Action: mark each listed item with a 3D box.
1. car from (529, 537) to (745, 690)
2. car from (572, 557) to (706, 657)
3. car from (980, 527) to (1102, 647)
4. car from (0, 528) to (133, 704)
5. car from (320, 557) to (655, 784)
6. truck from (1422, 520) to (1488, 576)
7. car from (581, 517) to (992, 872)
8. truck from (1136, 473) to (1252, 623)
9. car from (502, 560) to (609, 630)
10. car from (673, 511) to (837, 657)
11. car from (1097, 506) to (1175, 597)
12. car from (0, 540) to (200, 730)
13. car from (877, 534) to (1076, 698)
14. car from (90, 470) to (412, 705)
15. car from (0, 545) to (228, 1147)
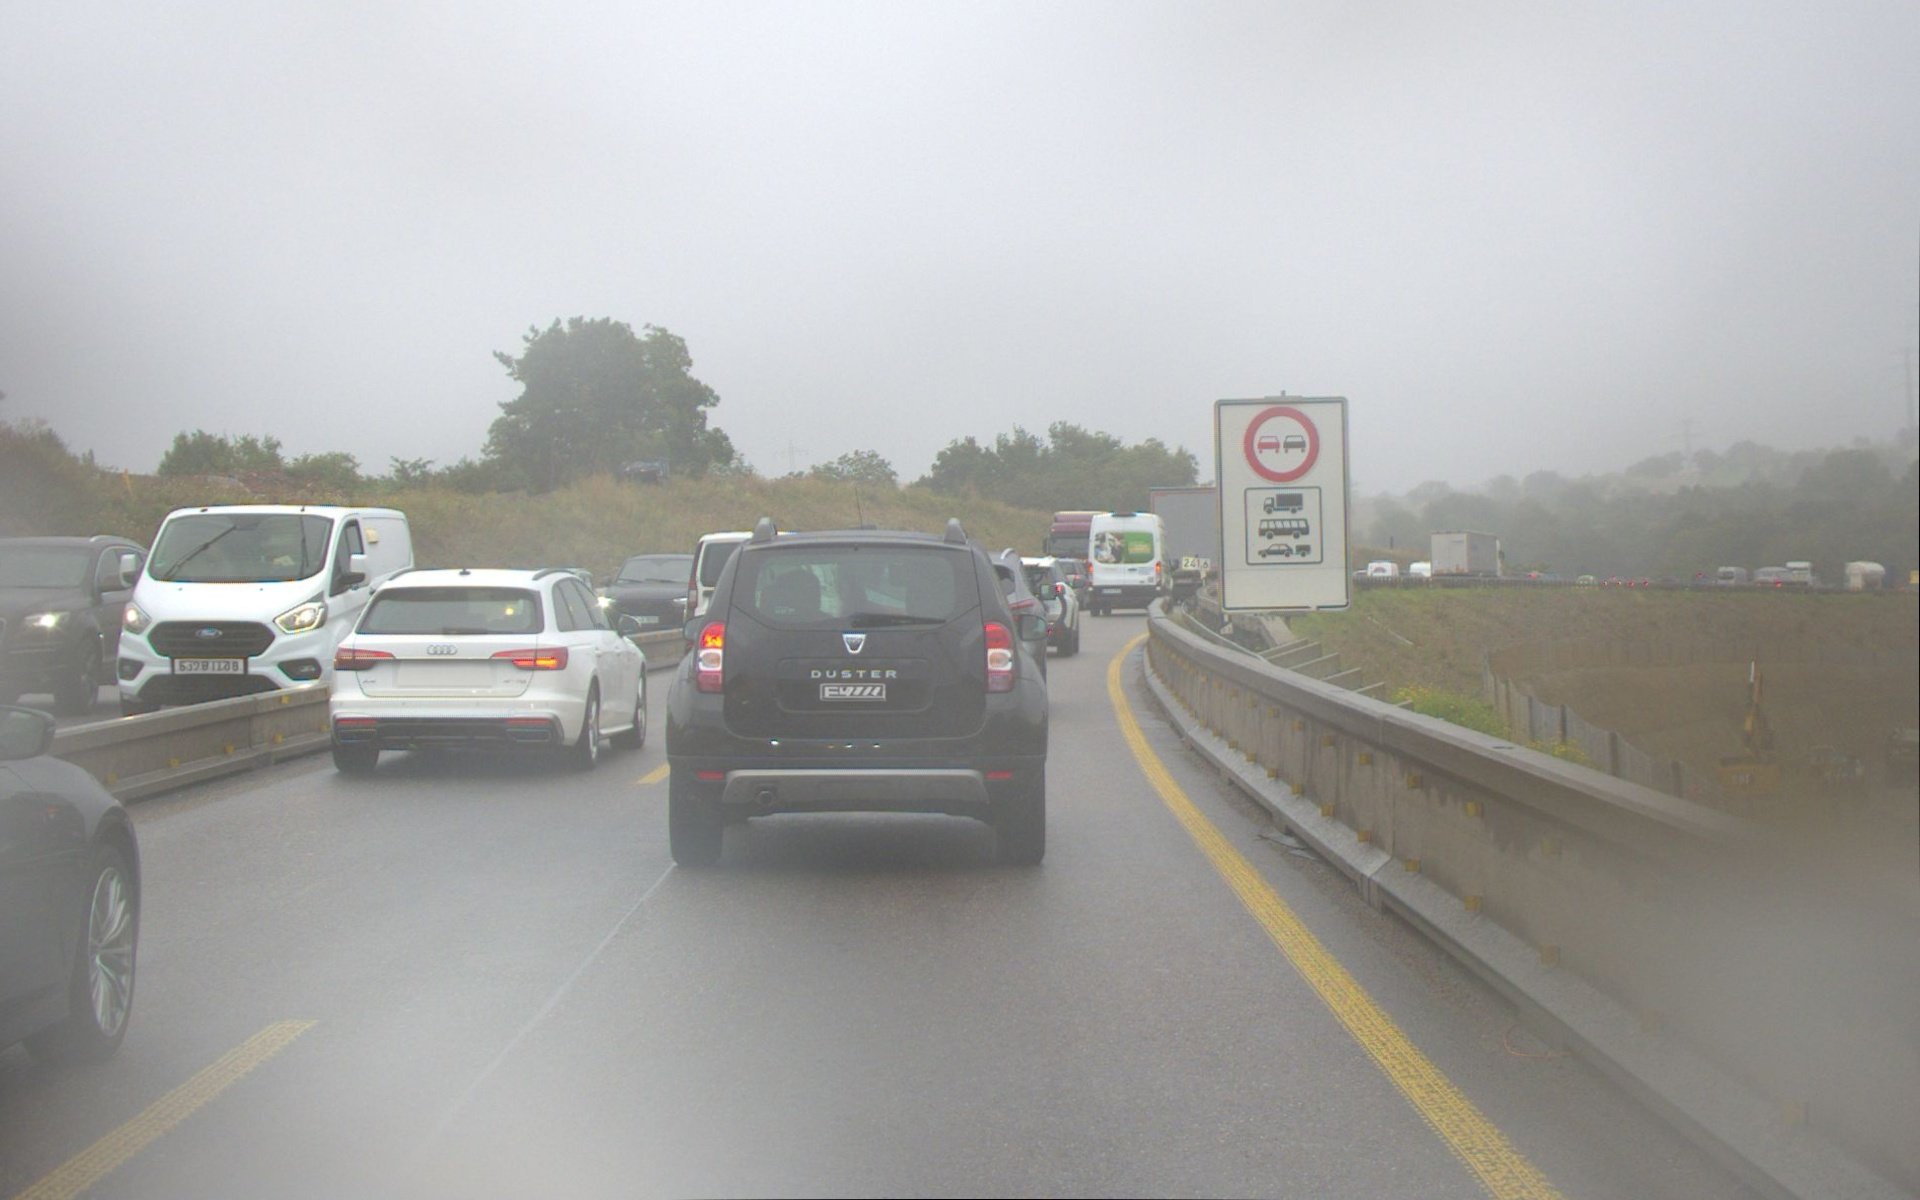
[{"bbox_3d":[-3.308,0.127,35.847,1.826,1.494,4.000,0,0,1],"label":"car"},{"bbox_3d":[-5.599,0.093,60.367,1.822,1.633,4.484,0,1,2],"label":"car"},{"bbox_3d":[1.296,-0.198,53.766,1.826,1.809,4.000,0,0,2],"label":"car"},{"bbox_3d":[-9.102,0.113,33.118,1.531,1.596,3.167,0,1,0],"label":"car"},{"bbox_3d":[-3.312,0.466,24.820,1.826,1.494,4.000,0,0,1],"label":"car"},{"bbox_3d":[33.792,-3.601,234.387,3.474,3.702,8.412,-1,1,14],"label":"truck"},{"bbox_3d":[-0.764,0.423,17.458,1.826,1.585,4.000,0,0,1],"label":"car"},{"bbox_3d":[8.340,-1.774,121.241,3.544,5.060,10.439,0,0,7],"label":"truck"},{"bbox_3d":[-8.221,-0.132,70.179,1.580,1.378,4.000,0,1,2],"label":"car"},{"bbox_3d":[-2.612,-0.203,44.683,1.826,1.809,4.000,0,0,1],"label":"car"},{"bbox_3d":[4.812,-1.289,93.482,1.827,2.429,4.157,0,0,7],"label":"car"},{"bbox_3d":[-9.112,0.274,33.796,1.994,1.681,4.969,0,1,2],"label":"car"},{"bbox_3d":[0.172,0.144,33.593,1.826,1.494,4.000,0,0,1],"label":"car"},{"bbox_3d":[-6.427,-0.172,31.740,1.993,1.992,4.970,0,1,-1],"label":"car"},{"bbox_3d":[-3.293,0.662,8.420,1.735,1.457,5.630,0,2,1],"label":"car"}]
